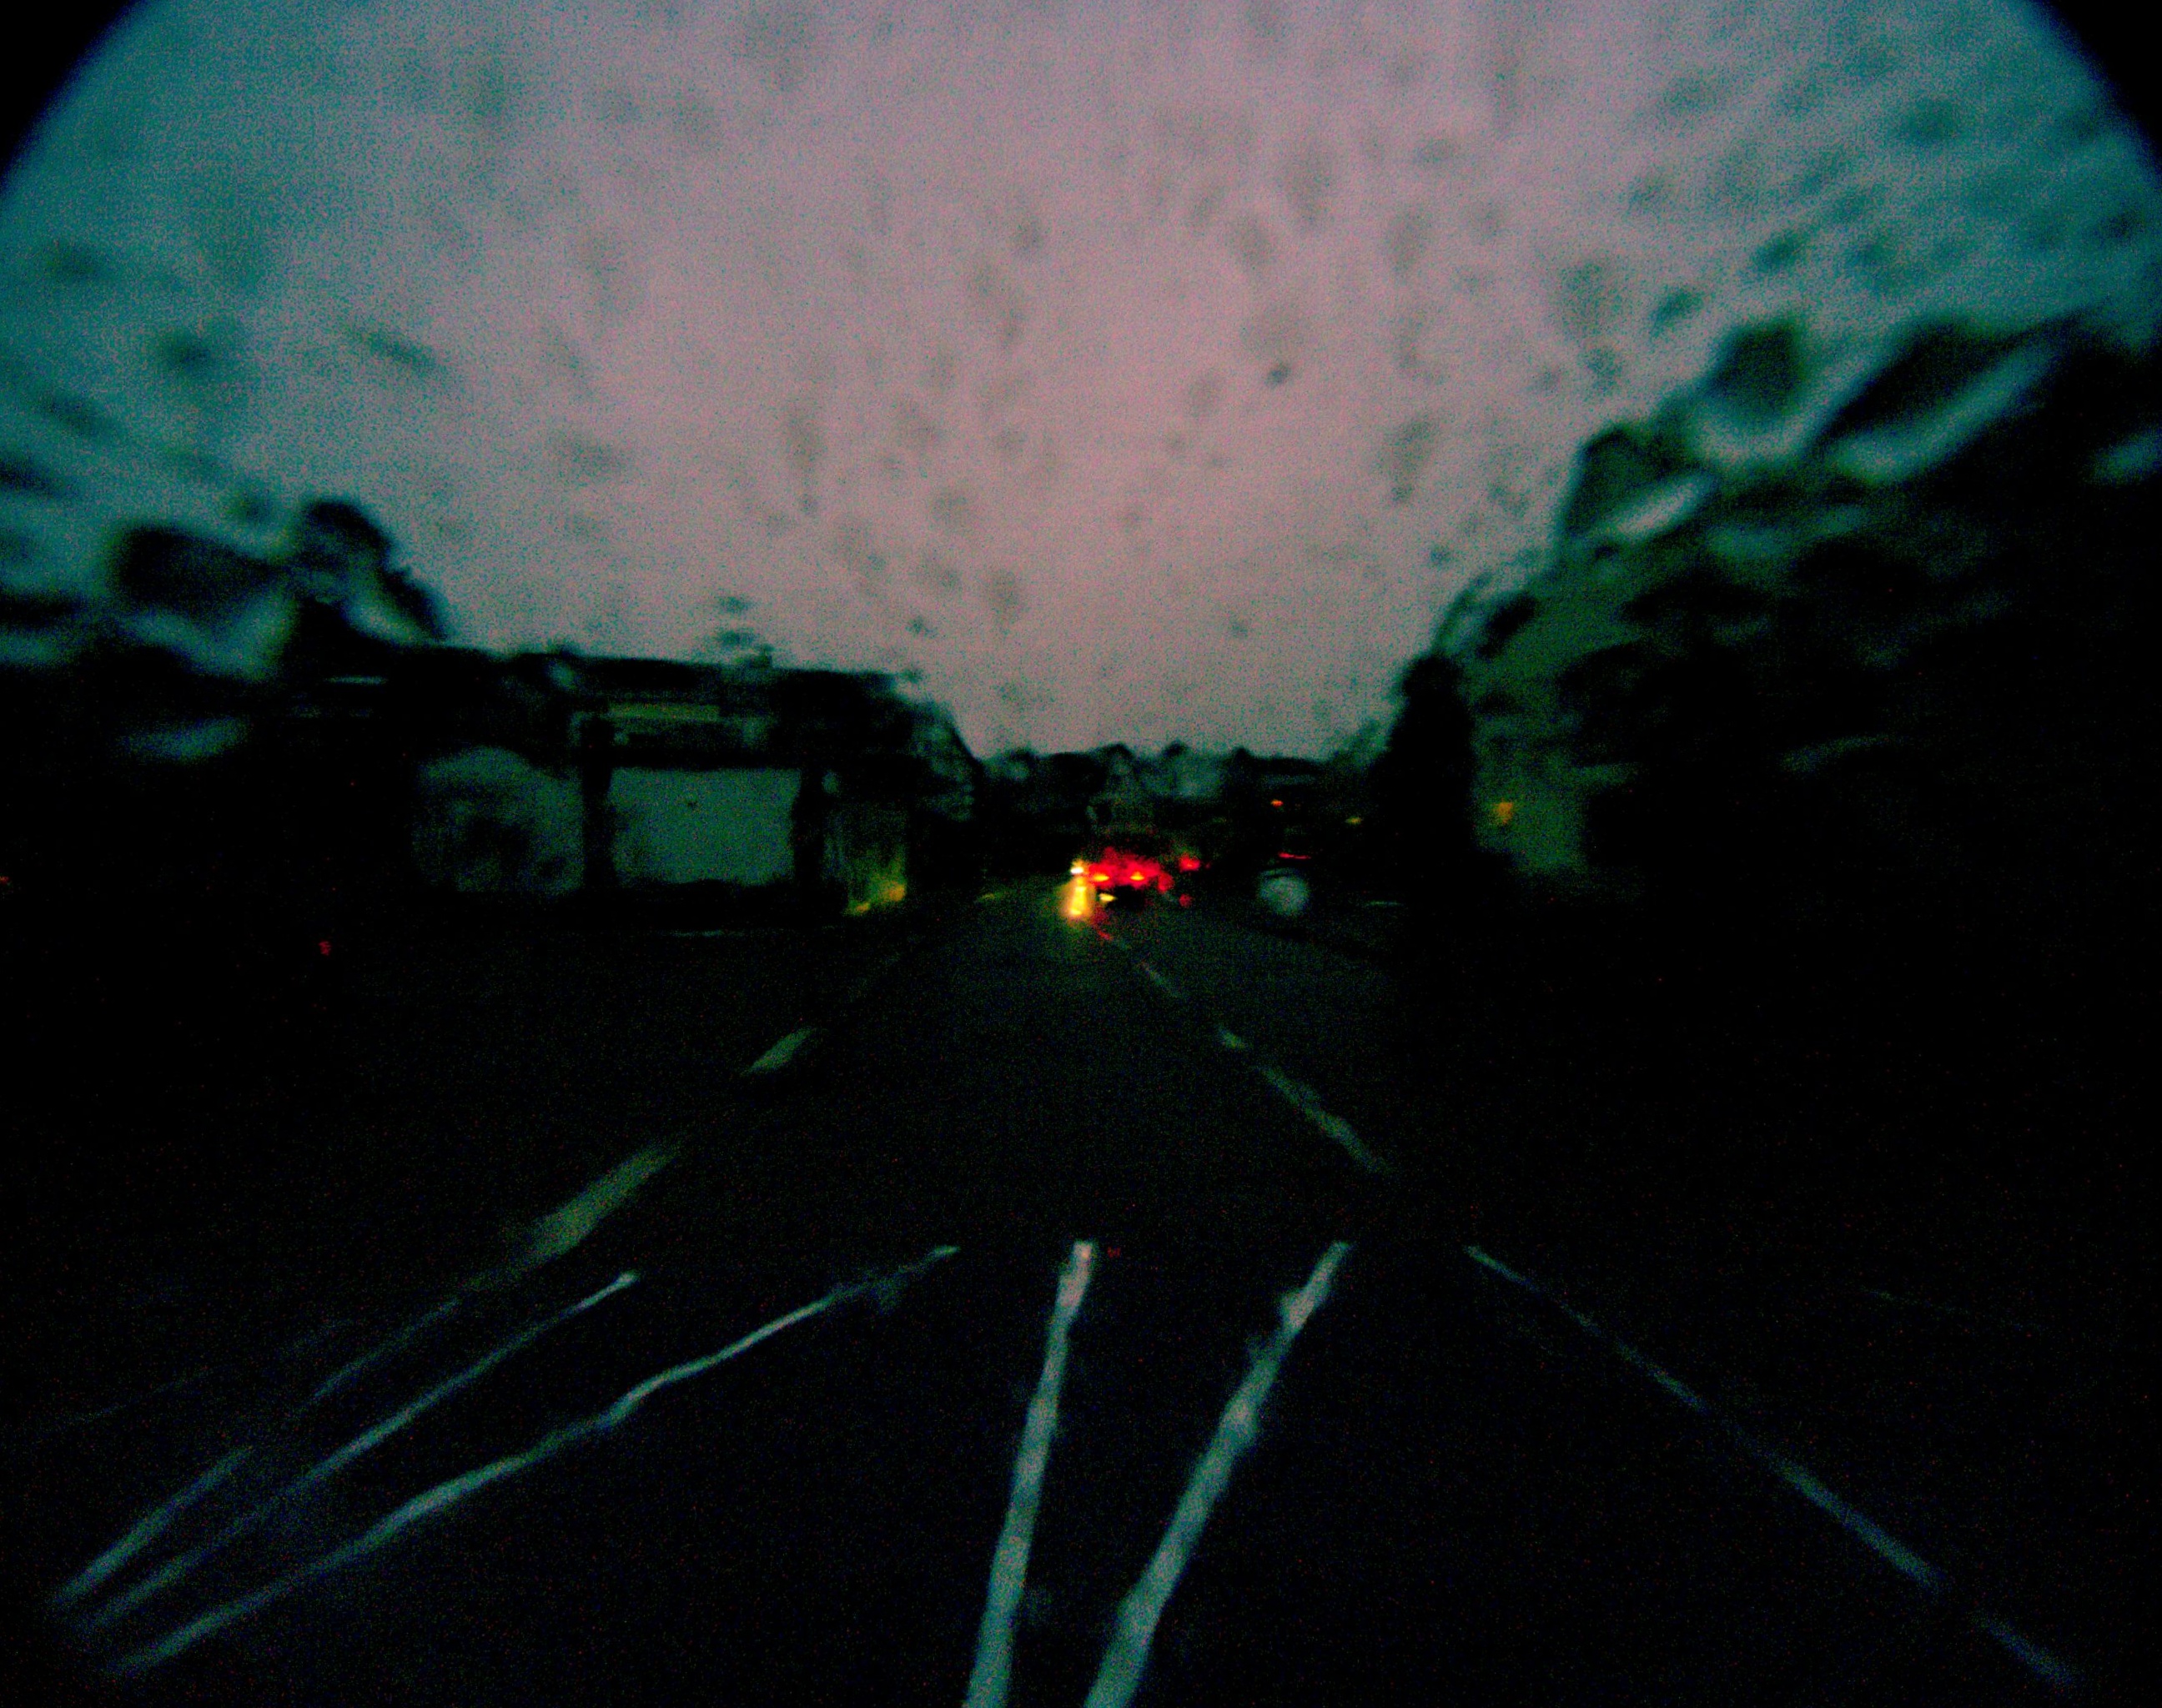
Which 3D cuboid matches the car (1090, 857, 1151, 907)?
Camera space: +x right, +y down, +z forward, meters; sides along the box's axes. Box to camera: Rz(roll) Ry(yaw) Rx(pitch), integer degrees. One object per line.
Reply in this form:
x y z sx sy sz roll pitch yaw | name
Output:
1.357 0.958 27.540 1.917 1.643 4.000 -2 0 -1 | car

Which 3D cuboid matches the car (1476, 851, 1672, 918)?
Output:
12.211 0.707 18.901 4.002 1.454 1.818 -2 0 -14 | car

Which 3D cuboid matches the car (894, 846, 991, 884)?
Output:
-7.065 0.557 38.784 4.483 1.651 1.851 3 2 -25 | car

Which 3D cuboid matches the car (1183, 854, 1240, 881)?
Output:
8.523 0.863 49.227 1.878 1.603 4.611 0 1 34 | car

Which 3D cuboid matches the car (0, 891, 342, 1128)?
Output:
-7.869 1.086 5.189 1.548 1.457 3.703 -1 0 19 | car

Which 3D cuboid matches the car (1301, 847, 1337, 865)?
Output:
22.128 0.169 70.690 1.650 1.498 3.484 -1 4 -13 | car

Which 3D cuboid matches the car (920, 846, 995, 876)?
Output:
-7.376 0.442 45.469 3.992 1.507 1.593 3 2 -30 | car

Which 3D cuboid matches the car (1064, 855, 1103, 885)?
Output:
0.213 0.866 43.509 1.998 1.569 4.158 -1 0 3 | car

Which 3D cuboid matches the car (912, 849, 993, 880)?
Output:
-7.106 0.588 42.003 4.044 1.412 1.811 3 2 -23 | car

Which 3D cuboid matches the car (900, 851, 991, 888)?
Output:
-6.475 0.744 36.343 3.899 1.442 1.884 3 2 -23 | car

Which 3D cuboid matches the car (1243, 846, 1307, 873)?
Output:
15.213 0.392 59.474 4.809 2.045 2.056 0 0 -32 | car
